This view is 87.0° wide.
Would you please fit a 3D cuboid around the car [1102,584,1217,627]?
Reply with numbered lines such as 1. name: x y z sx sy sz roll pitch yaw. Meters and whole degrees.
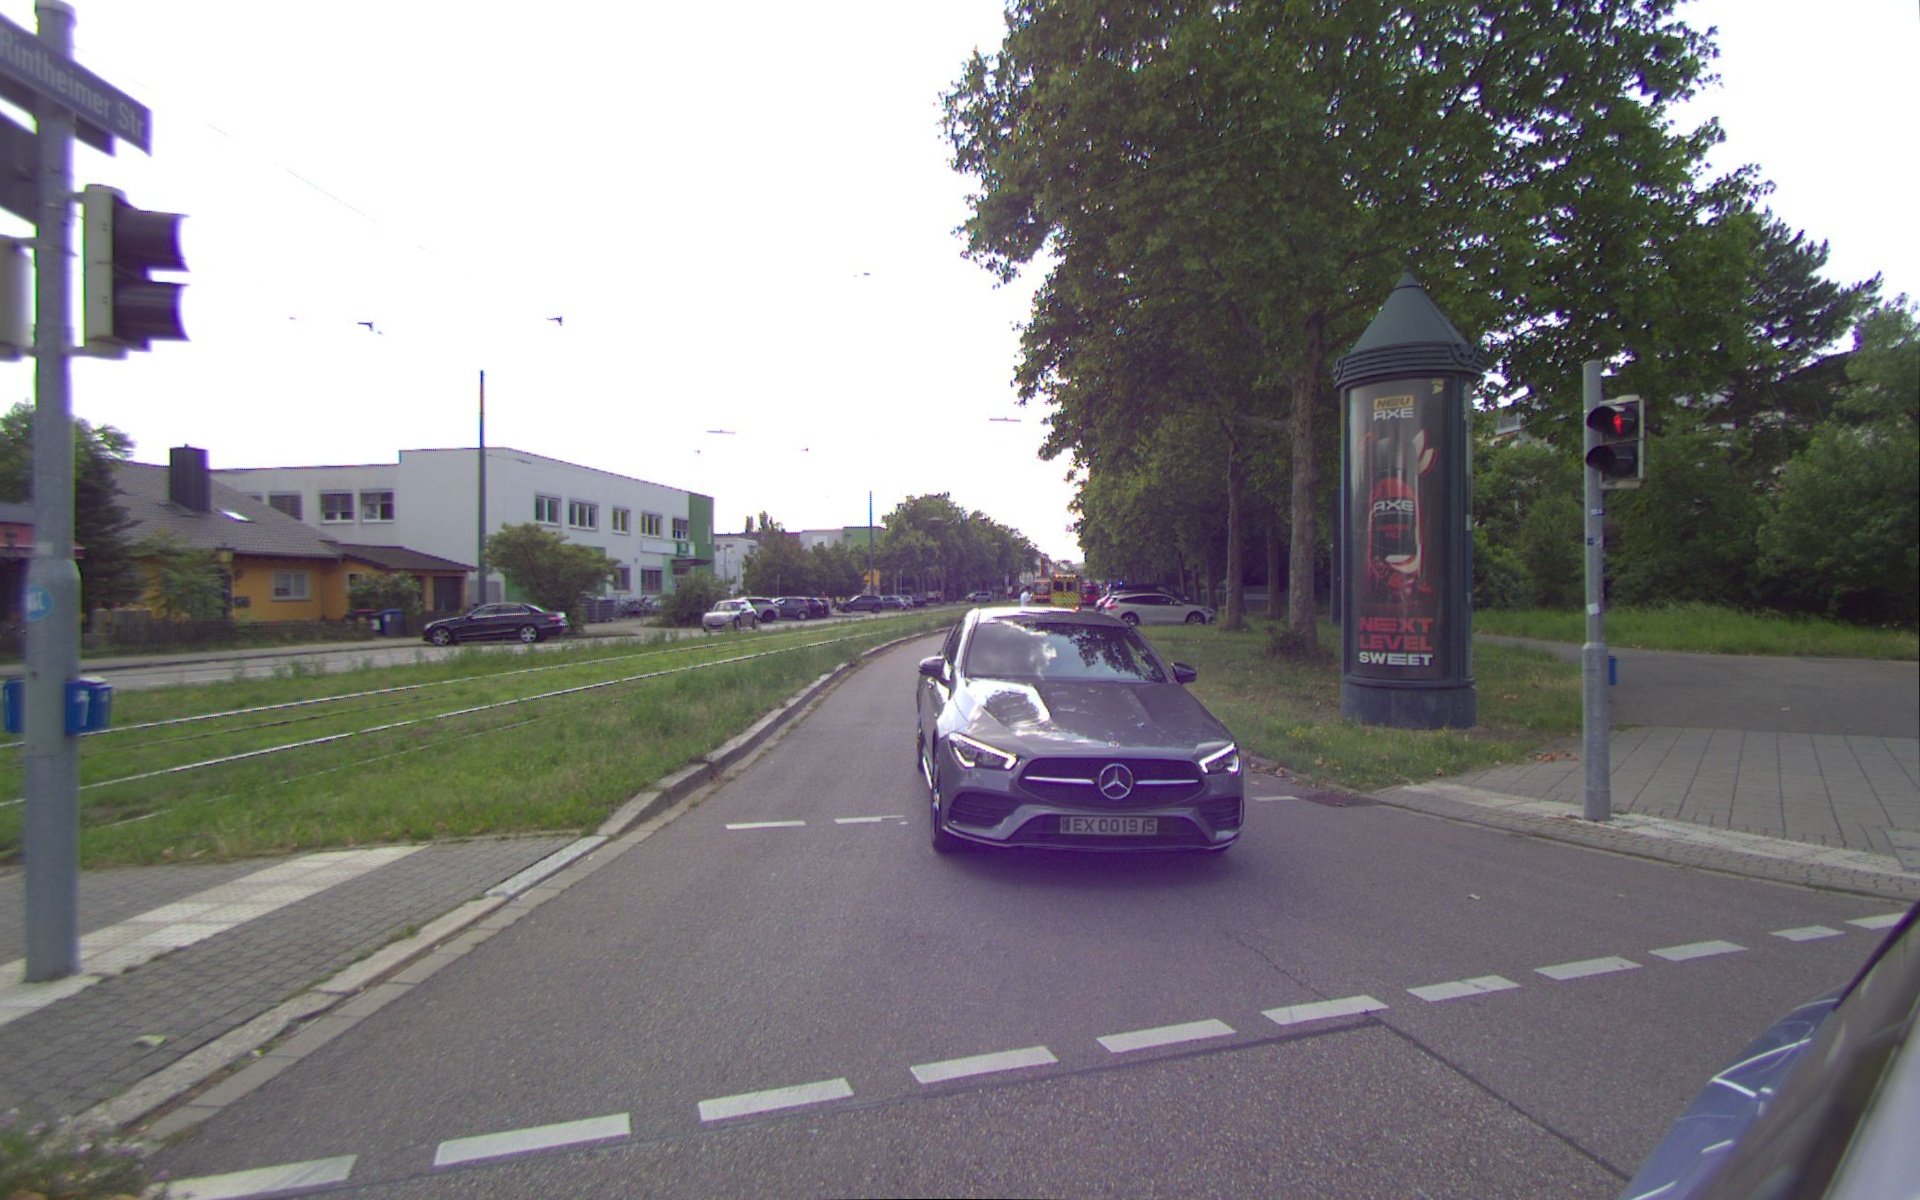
1. car: 8.145 0.243 41.725 4.465 1.665 1.996 -1 -1 7

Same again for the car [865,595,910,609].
1. car: -7.322 0.191 101.490 4.225 1.381 1.906 -1 0 -13

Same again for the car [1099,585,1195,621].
1. car: 9.073 0.158 49.424 4.465 1.665 1.996 -1 -1 7

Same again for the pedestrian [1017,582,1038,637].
1. pedestrian: 2.114 0.303 31.639 0.579 1.705 0.491 0 -1 17

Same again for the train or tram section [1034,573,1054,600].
1. train or tram section: 11.705 -1.941 141.103 2.450 3.641 7.416 -1 1 3

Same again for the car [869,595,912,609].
1. car: -7.160 0.187 104.081 4.225 1.381 1.906 -1 0 -13

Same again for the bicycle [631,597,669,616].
1. bicycle: -20.379 0.427 66.530 2.384 1.180 0.744 -1 0 17

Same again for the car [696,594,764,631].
1. car: -10.698 0.534 47.322 1.868 1.650 4.309 0 0 5

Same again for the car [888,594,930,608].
1. car: -5.450 0.067 107.788 4.225 1.381 1.906 -1 0 -13

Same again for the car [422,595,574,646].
1. car: -16.228 0.682 35.773 4.485 1.600 2.004 -2 1 -11

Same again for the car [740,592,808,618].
1. car: -12.452 0.325 67.743 4.224 1.650 1.906 0 0 -19

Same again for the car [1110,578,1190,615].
1. car: 11.013 -0.200 58.979 4.483 2.039 1.994 -1 0 10

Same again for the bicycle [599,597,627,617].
1. bicycle: -21.632 0.433 63.115 1.604 1.180 0.699 0 0 26

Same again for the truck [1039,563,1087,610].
1. truck: 7.979 -1.009 77.303 3.142 3.359 7.502 -1 0 10

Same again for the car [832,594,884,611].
1. car: -8.907 0.194 87.995 4.224 1.381 1.906 -1 0 -15

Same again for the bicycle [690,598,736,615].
1. bicycle: -18.009 0.448 73.912 3.088 1.180 1.140 -1 0 5

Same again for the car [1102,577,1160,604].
1. car: 22.717 -1.241 134.836 7.326 3.372 2.972 1 0 4

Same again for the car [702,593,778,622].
1. car: -13.412 0.421 61.764 4.226 1.650 1.905 -1 0 -24

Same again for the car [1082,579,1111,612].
1. car: 14.761 -0.507 109.623 2.925 3.359 7.444 1 0 7

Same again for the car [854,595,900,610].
1. car: -8.040 0.186 98.252 4.225 1.381 1.906 -1 0 -13

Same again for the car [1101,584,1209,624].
1. car: 8.470 0.179 44.285 4.465 1.665 1.996 -1 -1 7

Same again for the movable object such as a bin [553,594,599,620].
1. movable object such as a bin: -20.364 0.368 53.766 1.355 1.343 2.109 -1 0 13

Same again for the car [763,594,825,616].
1. car: -11.617 0.355 70.737 4.082 1.523 1.864 0 0 -18

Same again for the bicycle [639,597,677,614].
1. bicycle: -20.100 0.369 67.399 2.356 1.129 0.793 0 0 16

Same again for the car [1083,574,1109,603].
1. car: 16.397 -1.359 122.138 2.925 3.372 7.444 1 0 7

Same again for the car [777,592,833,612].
1. car: -11.787 0.136 76.913 4.083 1.523 1.864 0 0 -13

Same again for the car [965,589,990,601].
1. car: 3.090 -0.886 175.603 3.916 1.861 1.825 1 0 -23

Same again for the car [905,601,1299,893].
1. car: 0.608 0.745 7.397 1.804 1.411 4.611 1 0 -5

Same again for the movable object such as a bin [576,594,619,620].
1. movable object such as a bin: -20.015 0.371 55.933 1.355 1.343 2.124 -1 0 13

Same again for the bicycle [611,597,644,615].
1. bicycle: -20.354 0.372 61.916 1.766 1.095 0.735 -1 0 7

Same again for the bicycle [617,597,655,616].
1. bicycle: -20.974 0.410 65.477 2.318 1.180 0.757 -1 0 15

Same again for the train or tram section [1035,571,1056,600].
1. train or tram section: 11.321 -1.924 133.720 2.450 3.641 7.416 -1 1 3
